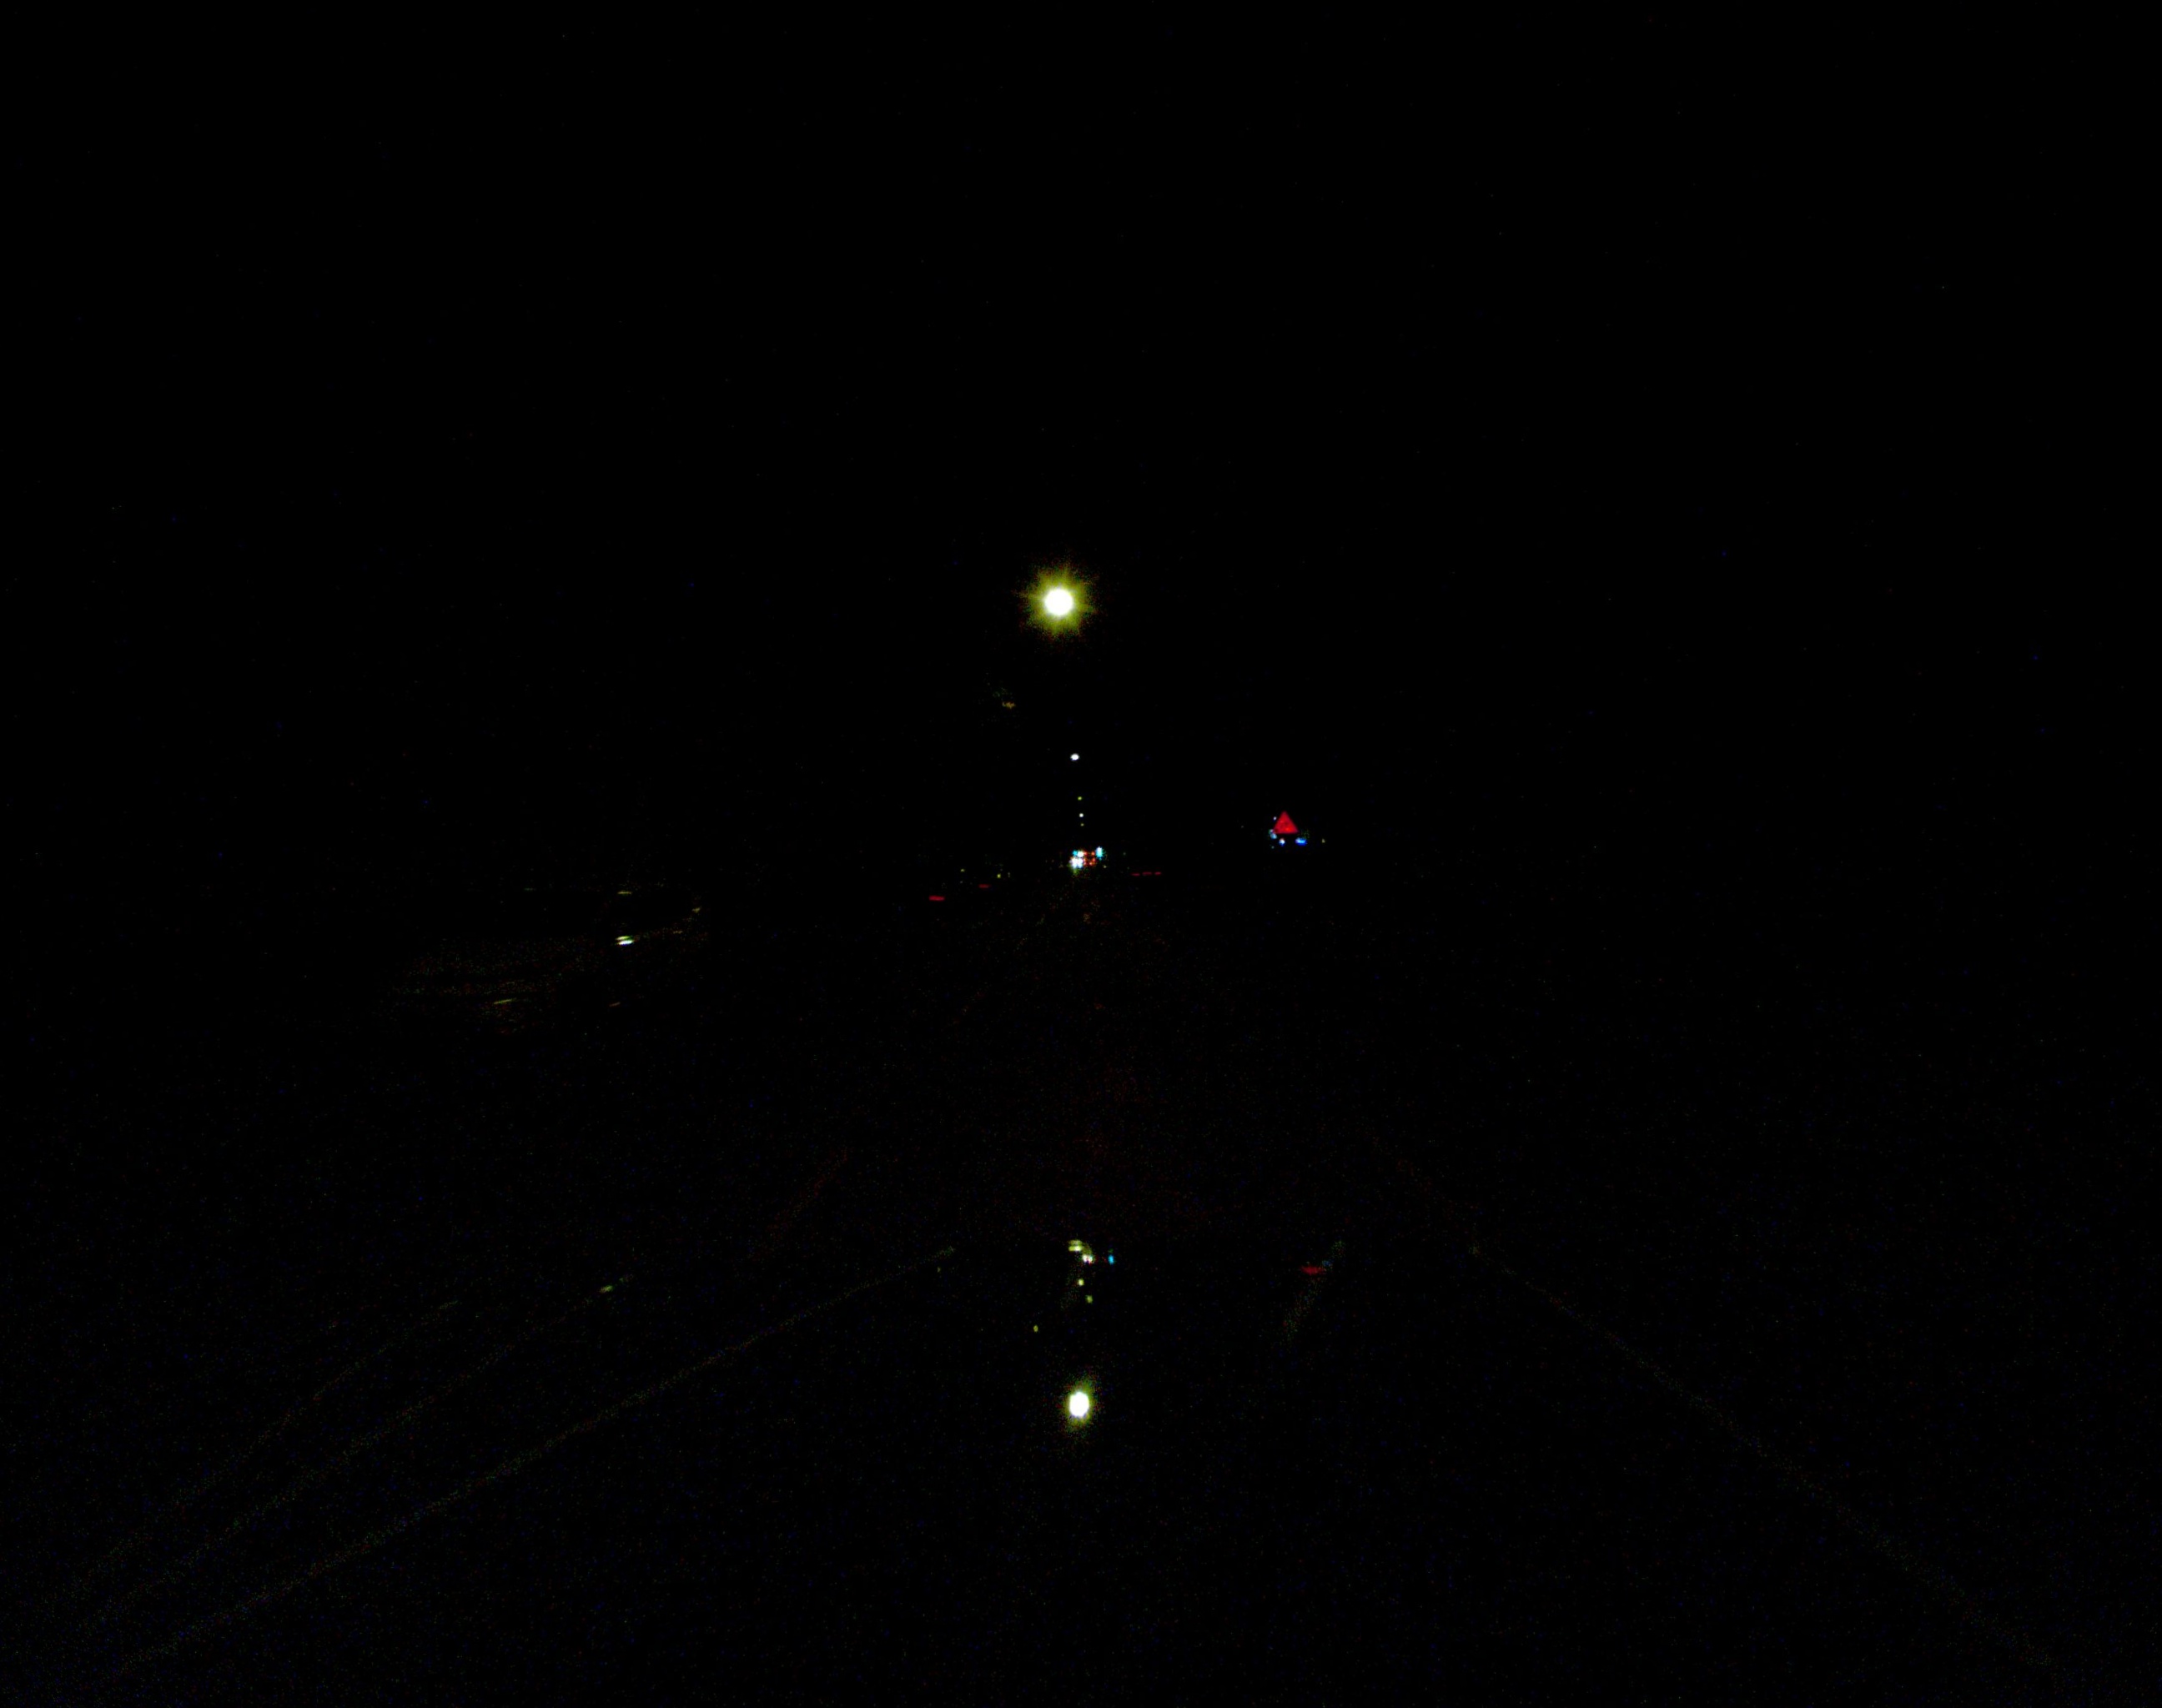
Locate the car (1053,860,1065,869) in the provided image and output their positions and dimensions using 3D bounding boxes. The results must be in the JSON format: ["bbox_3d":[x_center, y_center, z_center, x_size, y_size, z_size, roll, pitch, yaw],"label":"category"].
[{"bbox_3d":[-3.705,1.745,127.657,1.874,1.407,4.000,-2,0,-1],"label":"car"}]

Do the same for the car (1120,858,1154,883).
[{"bbox_3d":[3.691,1.072,51.004,1.864,1.458,3.897,-4,0,-1],"label":"car"}]

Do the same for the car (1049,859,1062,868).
[{"bbox_3d":[-4.038,1.505,120.691,1.874,1.407,4.000,-2,0,-1],"label":"car"}]

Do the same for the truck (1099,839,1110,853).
[{"bbox_3d":[4.614,-1.525,148.761,2.084,2.562,6.874,-2,0,1],"label":"truck"}]

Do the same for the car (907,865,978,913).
[{"bbox_3d":[-4.853,1.178,27.117,1.865,1.544,4.045,0,0,-2],"label":"car"}]

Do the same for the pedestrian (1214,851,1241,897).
[{"bbox_3d":[5.508,0.745,28.644,0.744,1.662,1.103,-2,1,-1],"label":"pedestrian"}]

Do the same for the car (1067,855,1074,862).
[{"bbox_3d":[-2.995,1.187,211.421,1.793,1.829,3.845,-2,0,-1],"label":"car"}]

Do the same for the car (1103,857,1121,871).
[{"bbox_3d":[4.012,1.295,97.879,1.874,1.635,3.999,-2,0,-3],"label":"car"}]

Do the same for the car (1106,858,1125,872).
[{"bbox_3d":[4.230,1.310,93.440,1.874,1.635,3.999,-2,0,-3],"label":"car"}]

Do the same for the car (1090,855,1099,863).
[{"bbox_3d":[2.991,1.125,171.641,1.873,1.635,4.000,-2,0,1],"label":"car"}]

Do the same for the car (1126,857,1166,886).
[{"bbox_3d":[3.838,1.016,45.436,1.864,1.523,4.588,-4,0,-1],"label":"car"}]

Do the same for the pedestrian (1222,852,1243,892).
[{"bbox_3d":[6.536,0.769,32.798,0.670,1.716,0.866,-2,0,-2],"label":"pedestrian"}]

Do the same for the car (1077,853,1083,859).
[{"bbox_3d":[-0.300,0.637,213.934,1.775,1.671,3.814,-2,0,0],"label":"car"}]

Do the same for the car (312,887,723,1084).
[{"bbox_3d":[-5.458,1.153,8.024,1.672,1.476,3.603,0,0,0],"label":"car"}]

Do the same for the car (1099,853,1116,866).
[{"bbox_3d":[3.607,0.775,103.984,1.874,1.635,3.999,-2,0,-3],"label":"car"}]

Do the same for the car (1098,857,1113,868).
[{"bbox_3d":[3.657,1.256,112.550,1.874,1.635,3.999,-2,0,-3],"label":"car"}]

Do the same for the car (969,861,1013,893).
[{"bbox_3d":[-4.718,1.166,40.498,1.742,1.587,4.359,0,0,1],"label":"car"}]

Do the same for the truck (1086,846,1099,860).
[{"bbox_3d":[2.944,-0.178,192.660,3.222,3.359,8.851,-2,0,1],"label":"truck"}]

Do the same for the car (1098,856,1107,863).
[{"bbox_3d":[4.968,1.182,173.720,1.873,1.551,4.353,-2,0,1],"label":"car"}]
